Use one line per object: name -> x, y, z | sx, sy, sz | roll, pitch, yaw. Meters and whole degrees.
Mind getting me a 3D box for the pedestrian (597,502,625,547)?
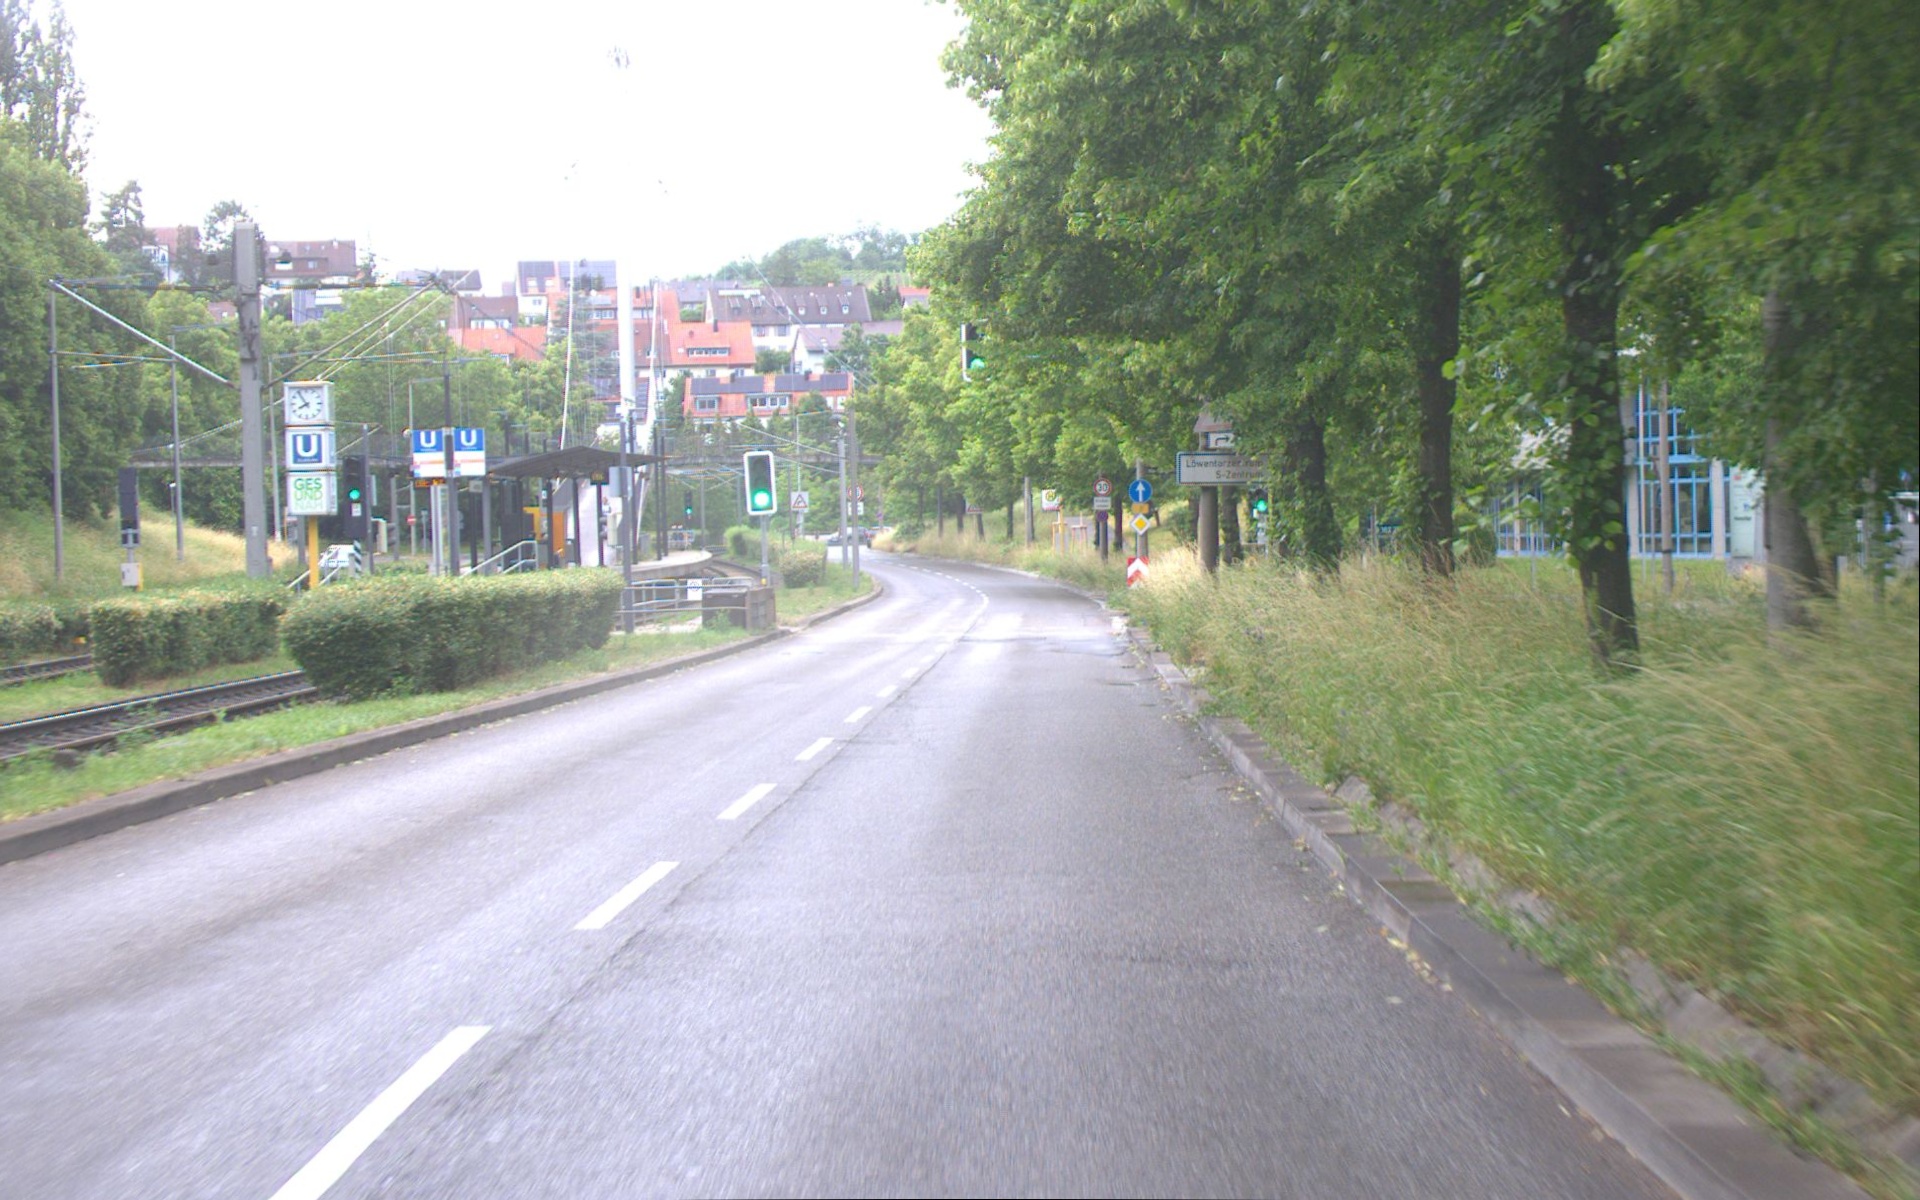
pedestrian -> -12.647, -2.731, 124.480 | 0.935, 1.605, 1.027 | -1, 1, -2
